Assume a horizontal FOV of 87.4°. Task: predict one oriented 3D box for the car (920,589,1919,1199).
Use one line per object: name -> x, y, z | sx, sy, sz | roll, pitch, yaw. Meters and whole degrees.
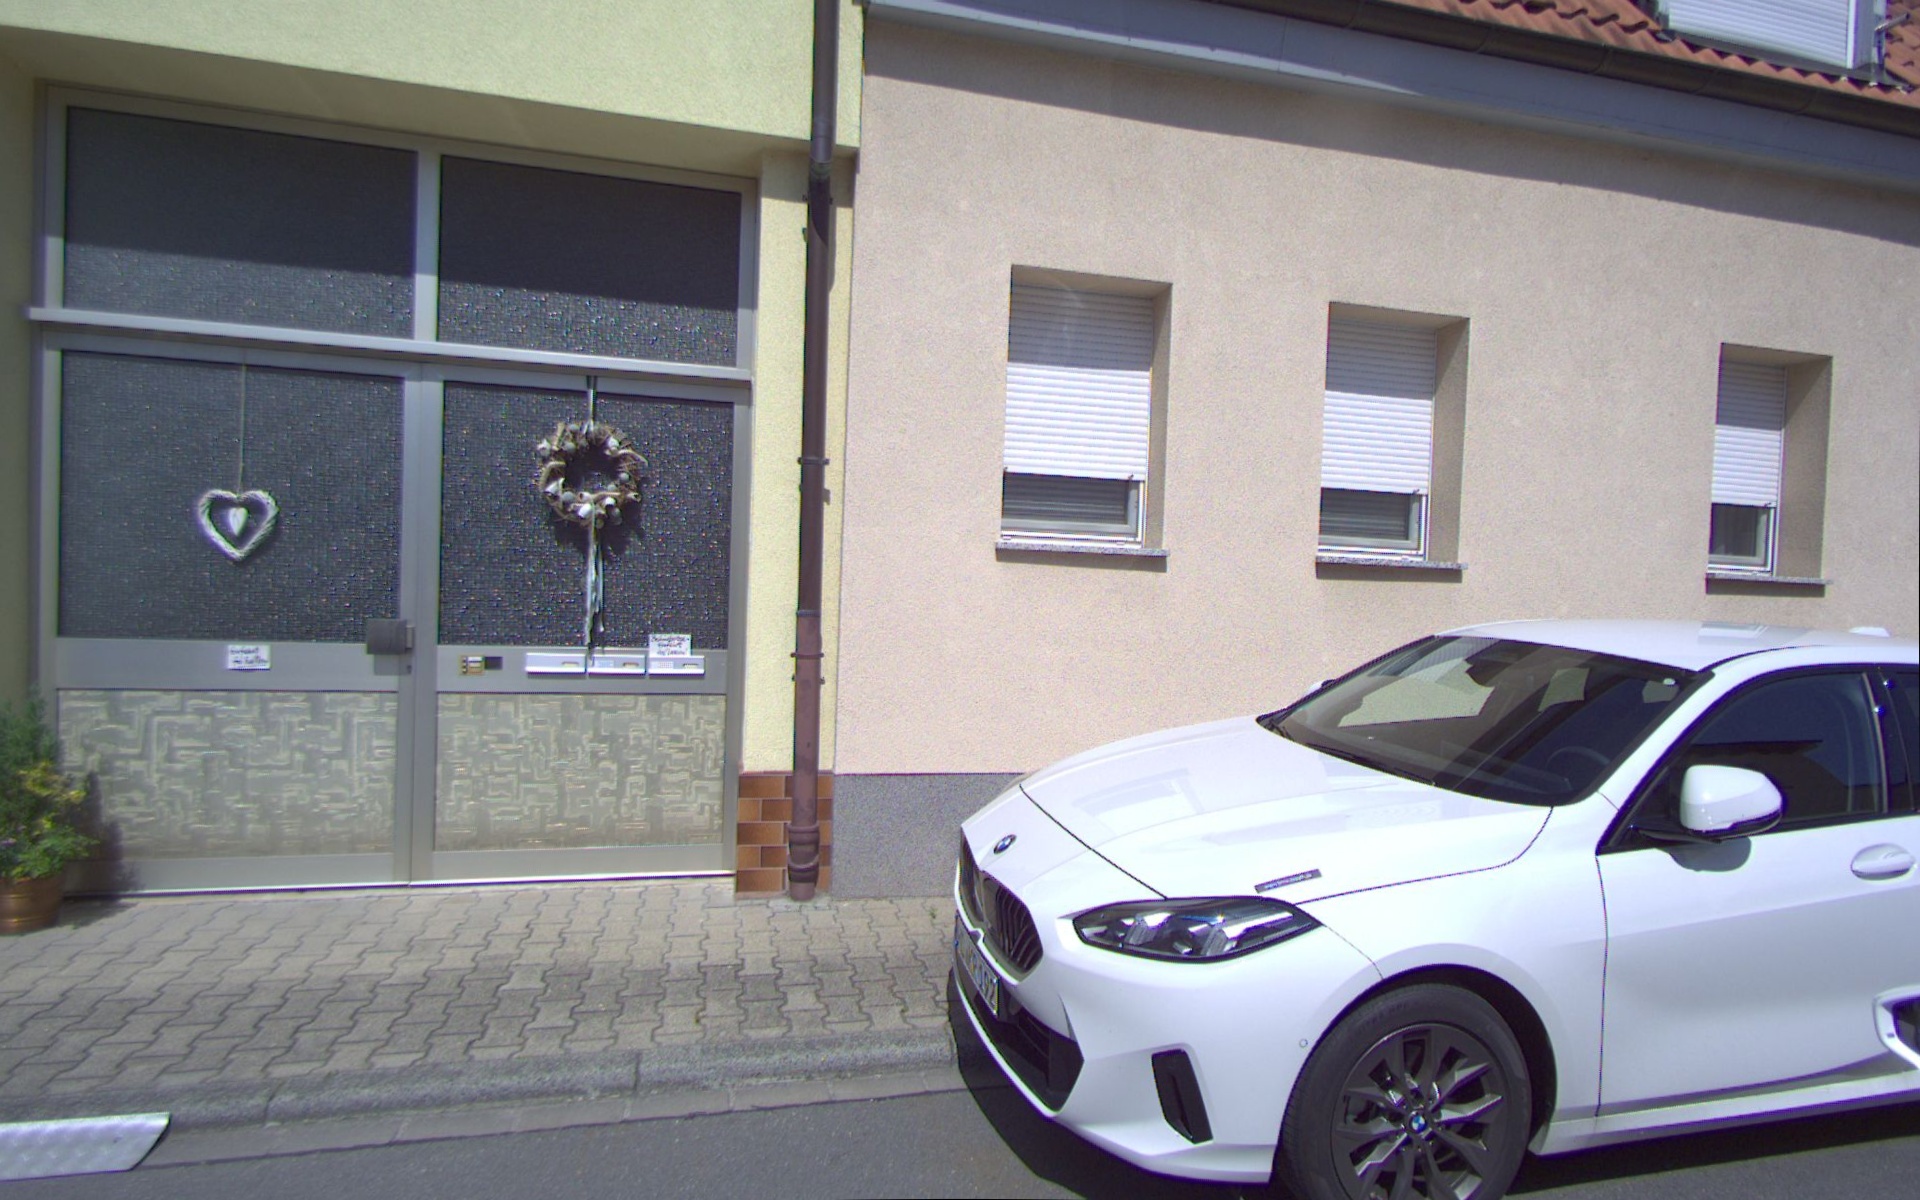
car -> 2.080, 0.785, 3.389 | 4.143, 1.473, 1.784 | 2, 0, -13
